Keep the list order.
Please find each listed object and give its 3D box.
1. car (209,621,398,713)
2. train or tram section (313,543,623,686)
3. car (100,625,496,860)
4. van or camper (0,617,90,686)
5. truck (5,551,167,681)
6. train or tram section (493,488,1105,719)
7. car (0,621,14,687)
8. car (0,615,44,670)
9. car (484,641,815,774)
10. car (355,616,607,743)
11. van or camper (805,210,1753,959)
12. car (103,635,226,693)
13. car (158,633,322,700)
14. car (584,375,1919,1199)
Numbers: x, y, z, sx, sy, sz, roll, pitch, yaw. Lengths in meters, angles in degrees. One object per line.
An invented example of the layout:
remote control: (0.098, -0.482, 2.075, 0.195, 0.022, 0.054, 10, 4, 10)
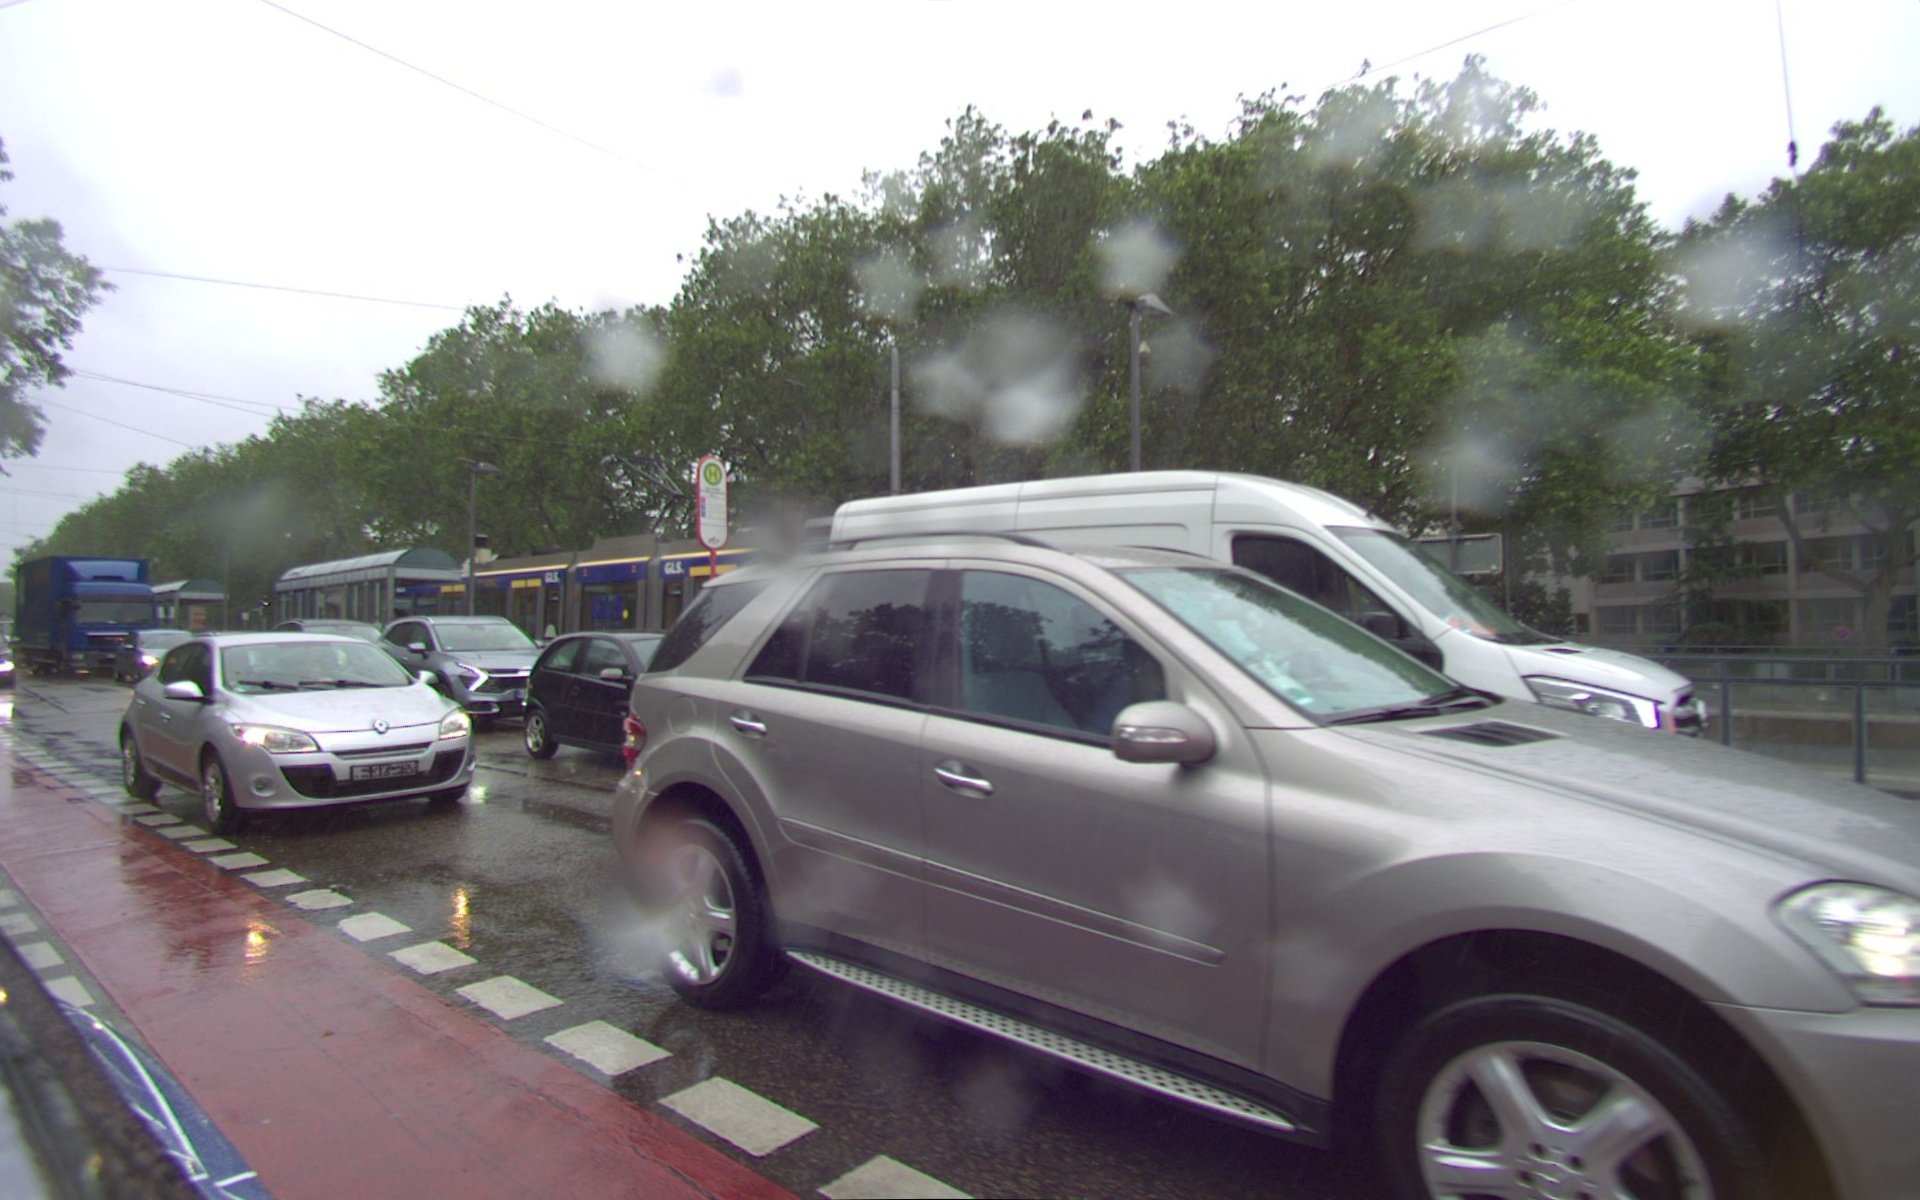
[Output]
car: (-13.134, 1.264, 20.162, 4.316, 1.633, 1.973, -2, -2, 40)
train or tram section: (-15.482, 0.477, 30.831, 13.653, 3.539, 3.476, -2, 0, 41)
car: (-5.721, 0.985, 8.552, 3.998, 1.489, 1.750, -2, -1, 40)
van or camper: (-37.874, 2.058, 41.834, 6.428, 2.590, 1.973, -2, 0, 41)
truck: (-30.023, 0.637, 34.572, 9.803, 3.919, 2.513, -2, -4, 40)
train or tram section: (-4.522, 0.201, 21.439, 15.492, 3.439, 3.505, -2, 0, 40)
car: (-26.519, 1.439, 26.906, 3.677, 1.679, 1.732, -2, -1, 43)
car: (-45.581, 2.010, 48.523, 5.727, 2.445, 1.972, -2, 0, 43)
car: (-3.479, 1.036, 10.925, 4.084, 1.126, 1.448, -2, -1, 40)
car: (-7.314, 1.093, 15.245, 4.454, 1.636, 1.894, -2, -3, 43)
van or camper: (1.687, 0.009, 6.976, 5.846, 3.166, 2.136, -2, -3, 40)
car: (-22.308, 1.744, 28.339, 4.074, 1.498, 1.871, -2, -3, 40)
car: (-16.767, 1.490, 23.489, 4.602, 1.405, 1.973, -2, -3, 40)
car: (0.795, 0.580, 3.492, 4.459, 1.784, 2.004, -2, -1, 40)
